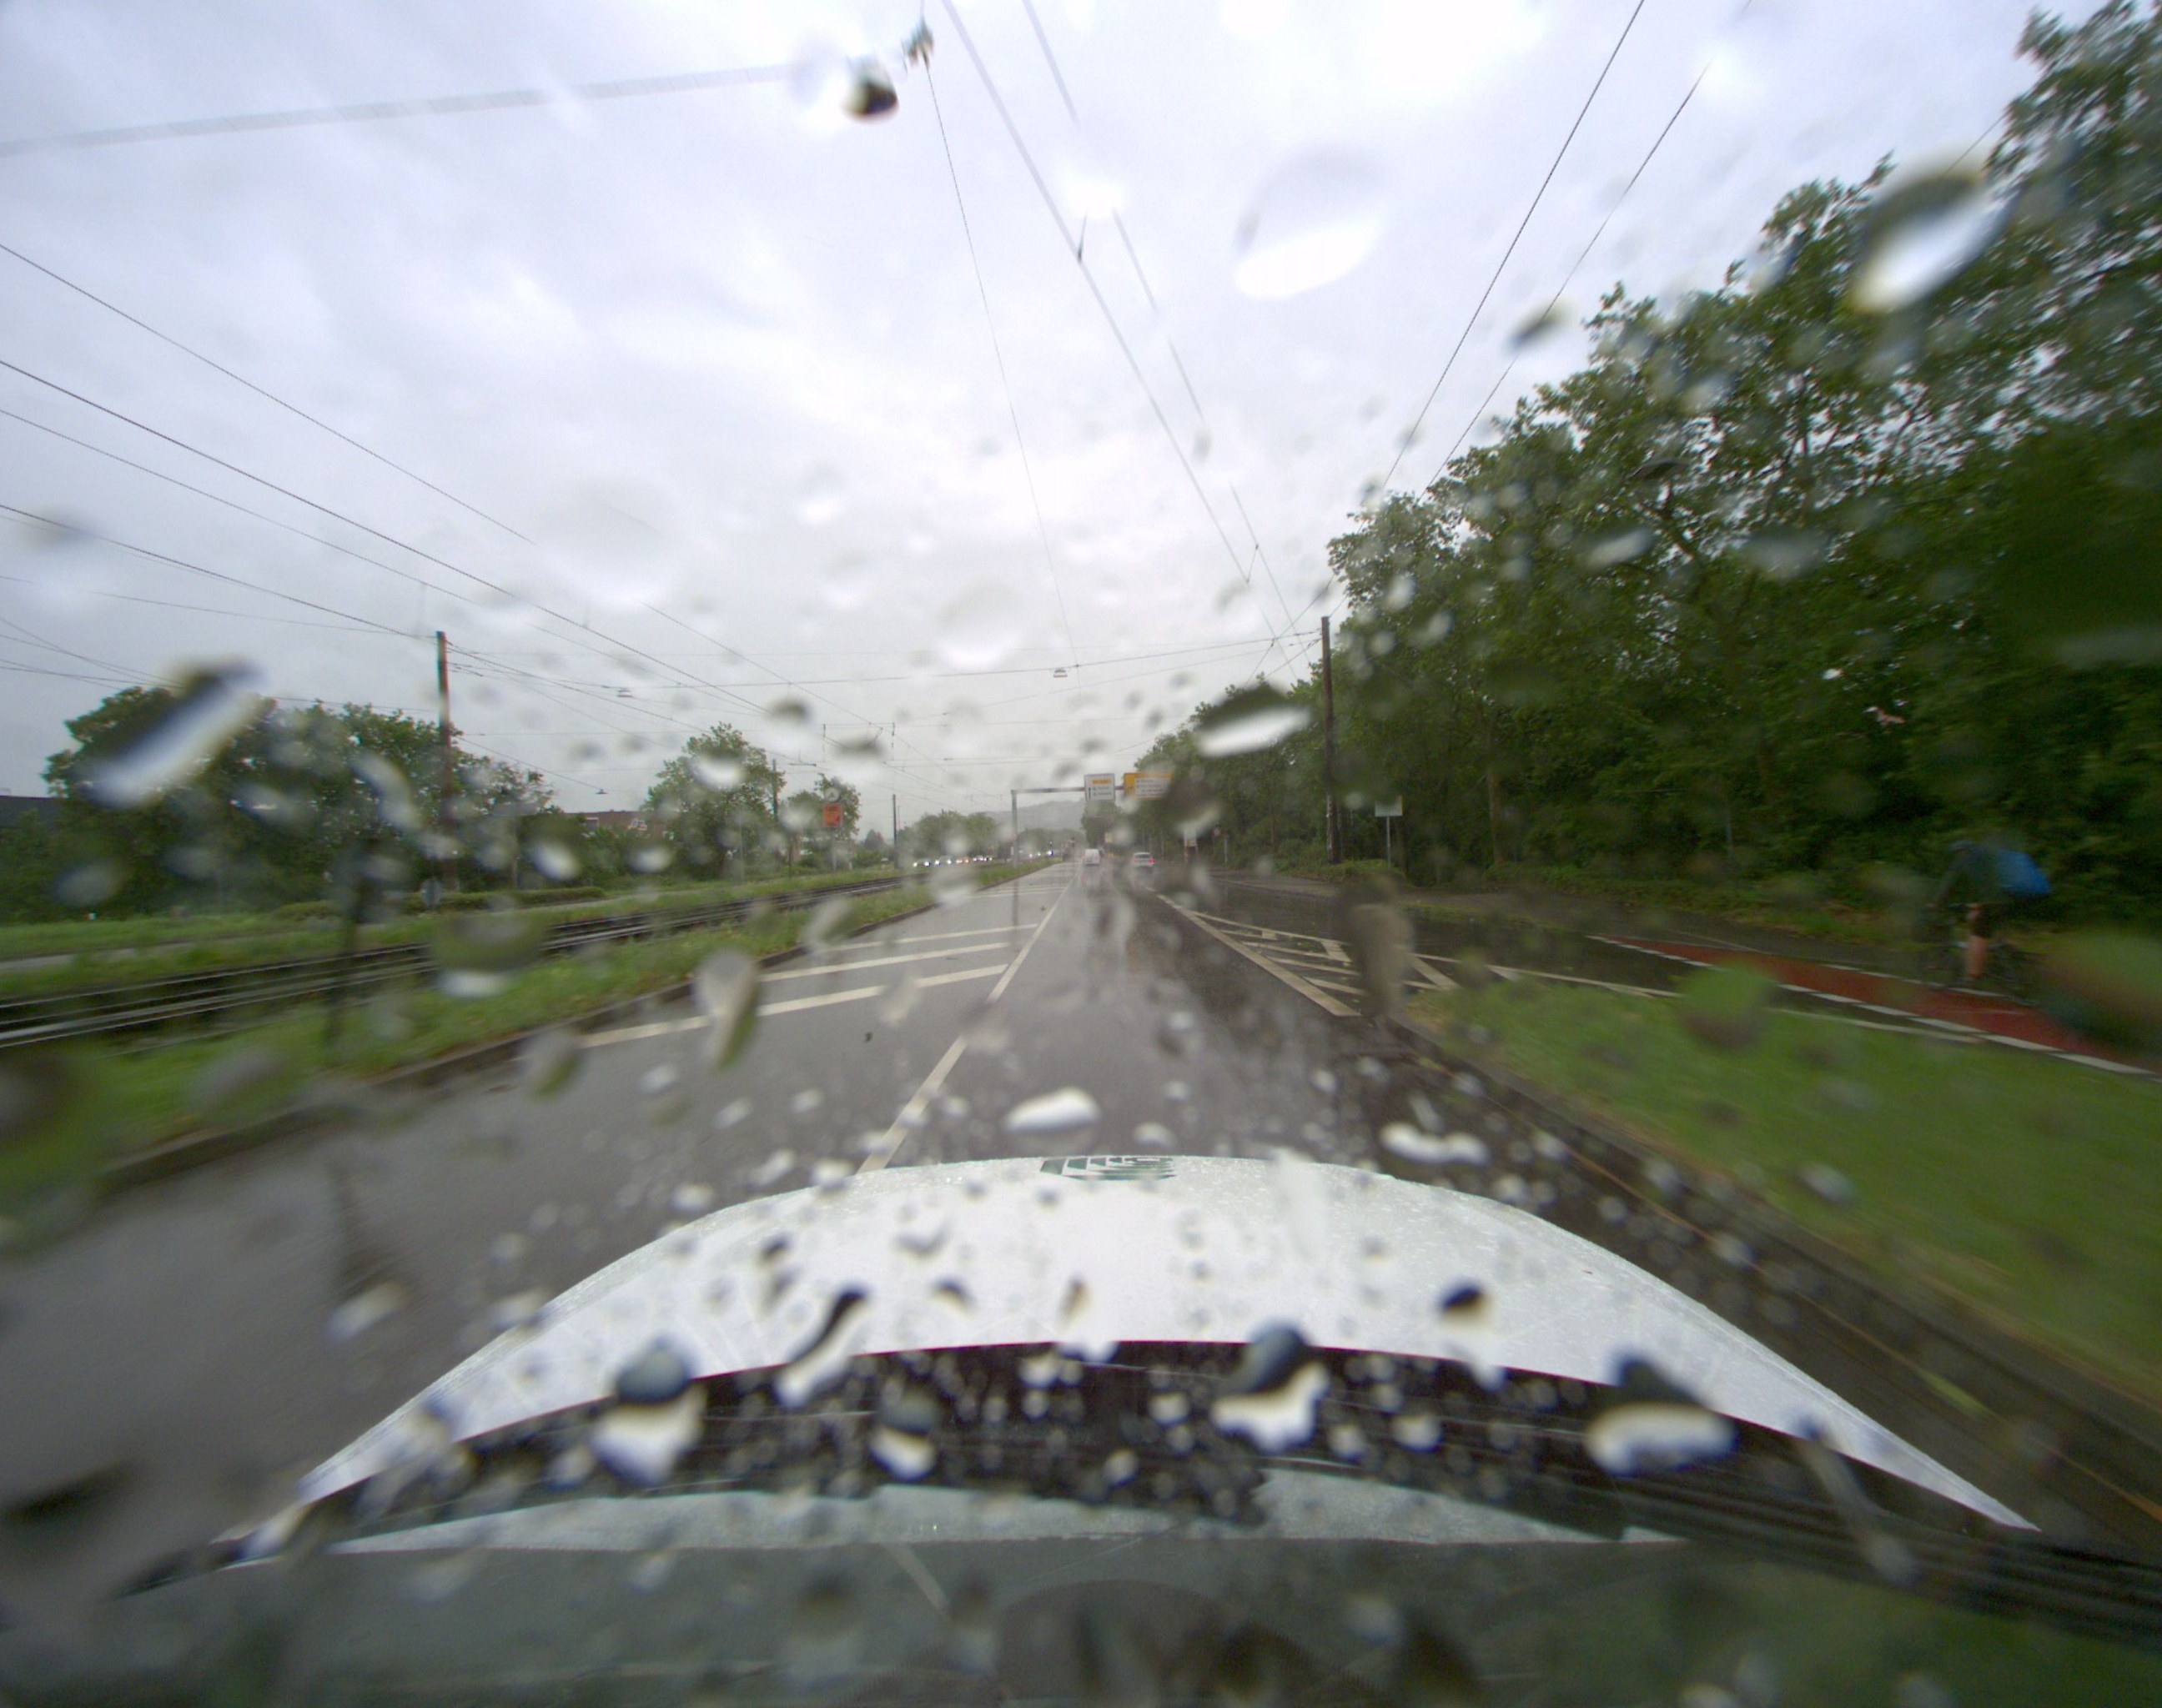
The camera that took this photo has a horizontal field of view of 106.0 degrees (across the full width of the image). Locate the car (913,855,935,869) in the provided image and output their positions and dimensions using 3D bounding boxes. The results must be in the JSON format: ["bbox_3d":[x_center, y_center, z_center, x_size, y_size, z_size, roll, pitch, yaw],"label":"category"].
[{"bbox_3d":[-20.059,1.058,104.247,1.939,1.686,4.775,-2,0,-3],"label":"car"}]

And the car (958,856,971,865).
[{"bbox_3d":[-20.270,1.163,141.998,1.715,1.494,3.999,-1,0,0],"label":"car"}]

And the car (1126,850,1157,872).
[{"bbox_3d":[4.459,0.507,60.773,1.942,1.536,4.465,-1,0,-1],"label":"car"}]

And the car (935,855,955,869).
[{"bbox_3d":[-17.025,0.947,102.252,1.939,1.616,4.983,-2,0,-3],"label":"car"}]

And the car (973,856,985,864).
[{"bbox_3d":[-20.150,1.168,161.017,1.715,1.494,3.999,-1,0,0],"label":"car"}]

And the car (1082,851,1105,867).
[{"bbox_3d":[1.176,0.467,77.460,2.070,1.420,4.000,-1,0,0],"label":"car"}]
